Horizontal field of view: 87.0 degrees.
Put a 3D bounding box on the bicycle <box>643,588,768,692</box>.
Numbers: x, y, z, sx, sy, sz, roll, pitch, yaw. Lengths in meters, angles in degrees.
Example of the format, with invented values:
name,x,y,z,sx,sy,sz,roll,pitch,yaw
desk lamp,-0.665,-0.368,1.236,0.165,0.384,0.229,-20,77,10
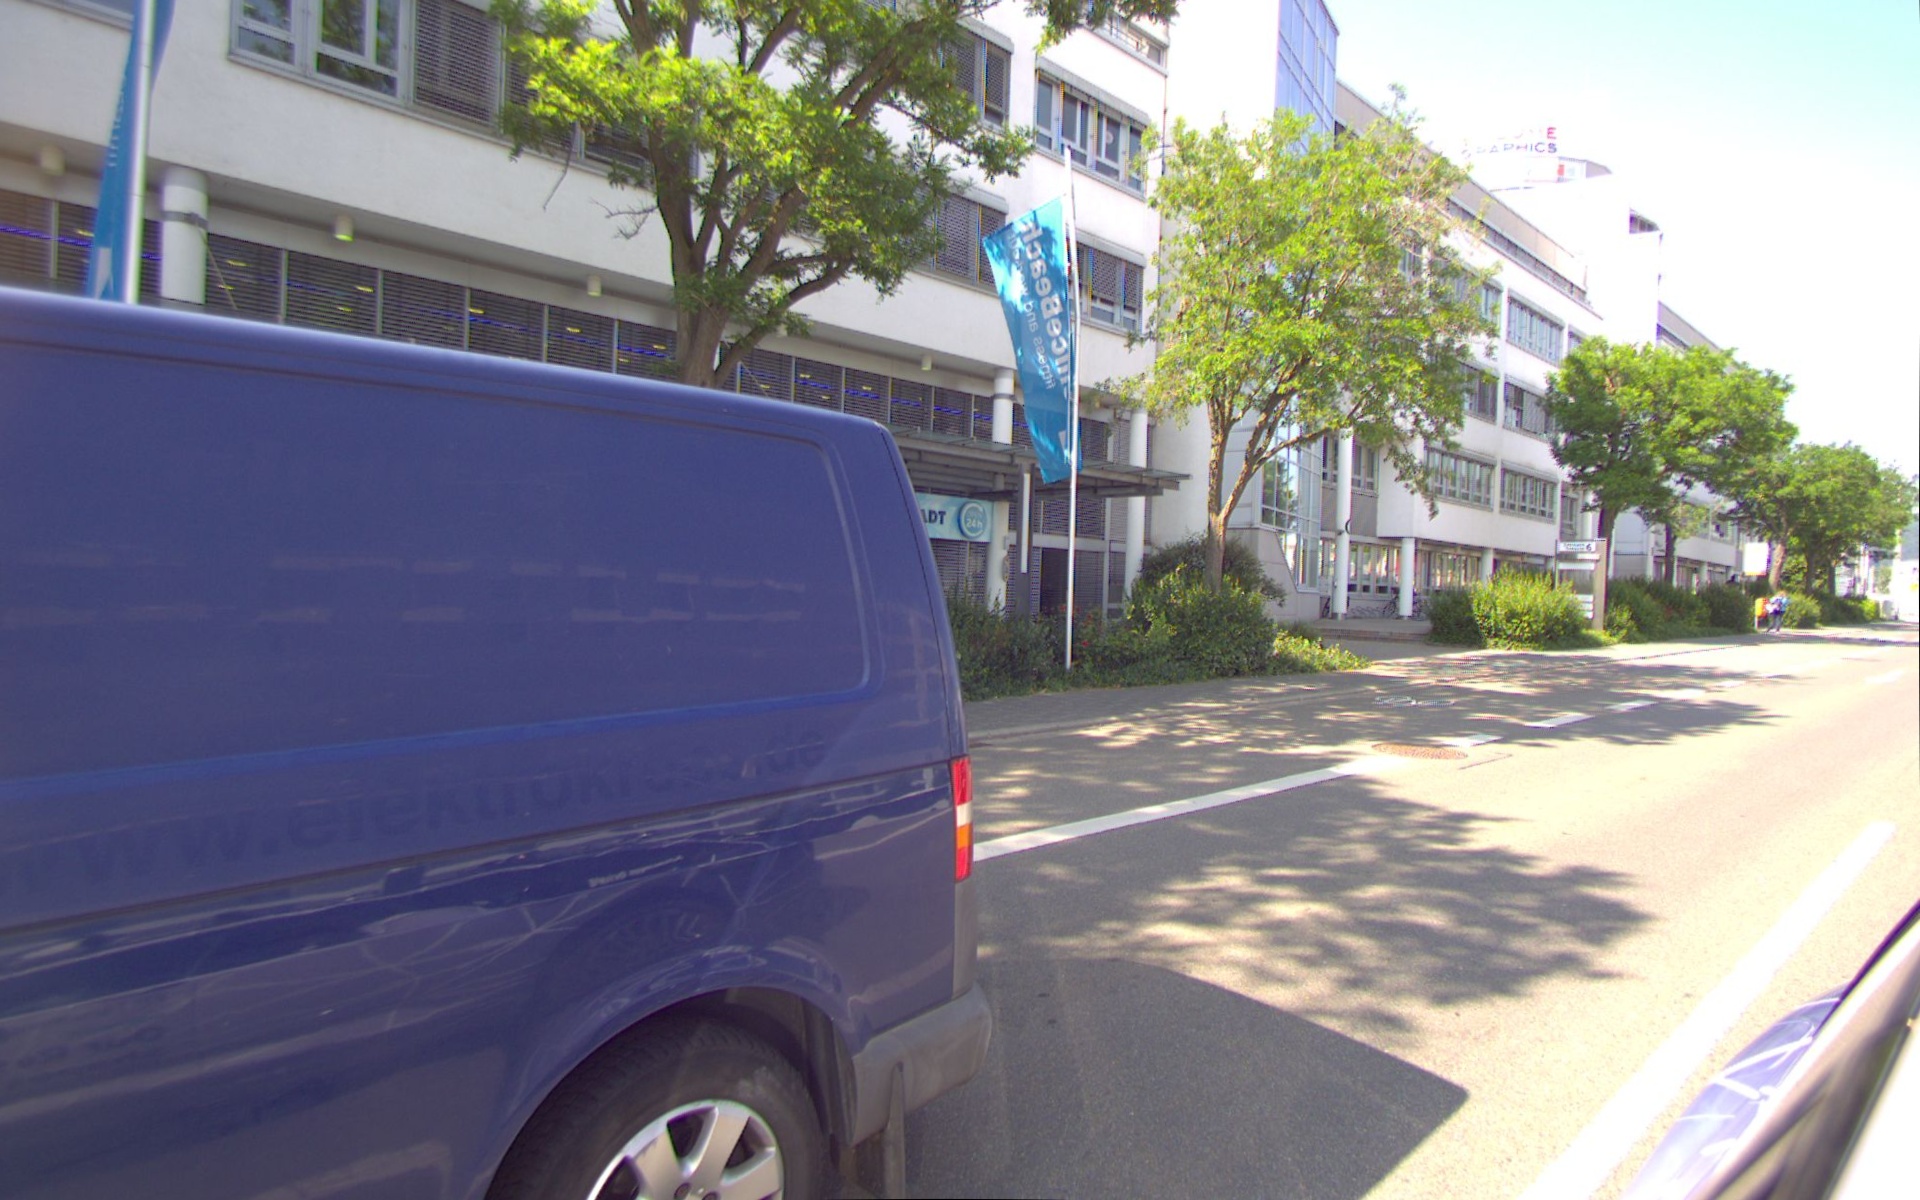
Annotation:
name,x,y,z,sx,sy,sz,roll,pitch,yaw
bicycle,-3.631,0.535,14.377,1.868,1.346,0.501,2,1,30

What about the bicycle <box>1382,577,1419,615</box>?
name,x,y,z,sx,sy,sz,roll,pitch,yaw
bicycle,16.347,-0.147,37.512,1.852,1.371,0.506,0,1,-41

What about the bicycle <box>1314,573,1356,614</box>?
name,x,y,z,sx,sy,sz,roll,pitch,yaw
bicycle,12.938,-0.215,34.916,1.852,1.371,0.506,0,1,-41

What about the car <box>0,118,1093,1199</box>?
name,x,y,z,sx,sy,sz,roll,pitch,yaw
car,-2.146,0.405,1.612,4.806,1.972,1.997,-1,2,-41

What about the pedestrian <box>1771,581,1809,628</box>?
name,x,y,z,sx,sy,sz,roll,pitch,yaw
pedestrian,35.204,0.188,42.927,1.267,1.909,0.942,0,4,-41

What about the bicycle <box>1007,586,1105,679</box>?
name,x,y,z,sx,sy,sz,roll,pitch,yaw
bicycle,1.507,0.476,15.609,0.504,1.346,1.856,2,1,41
